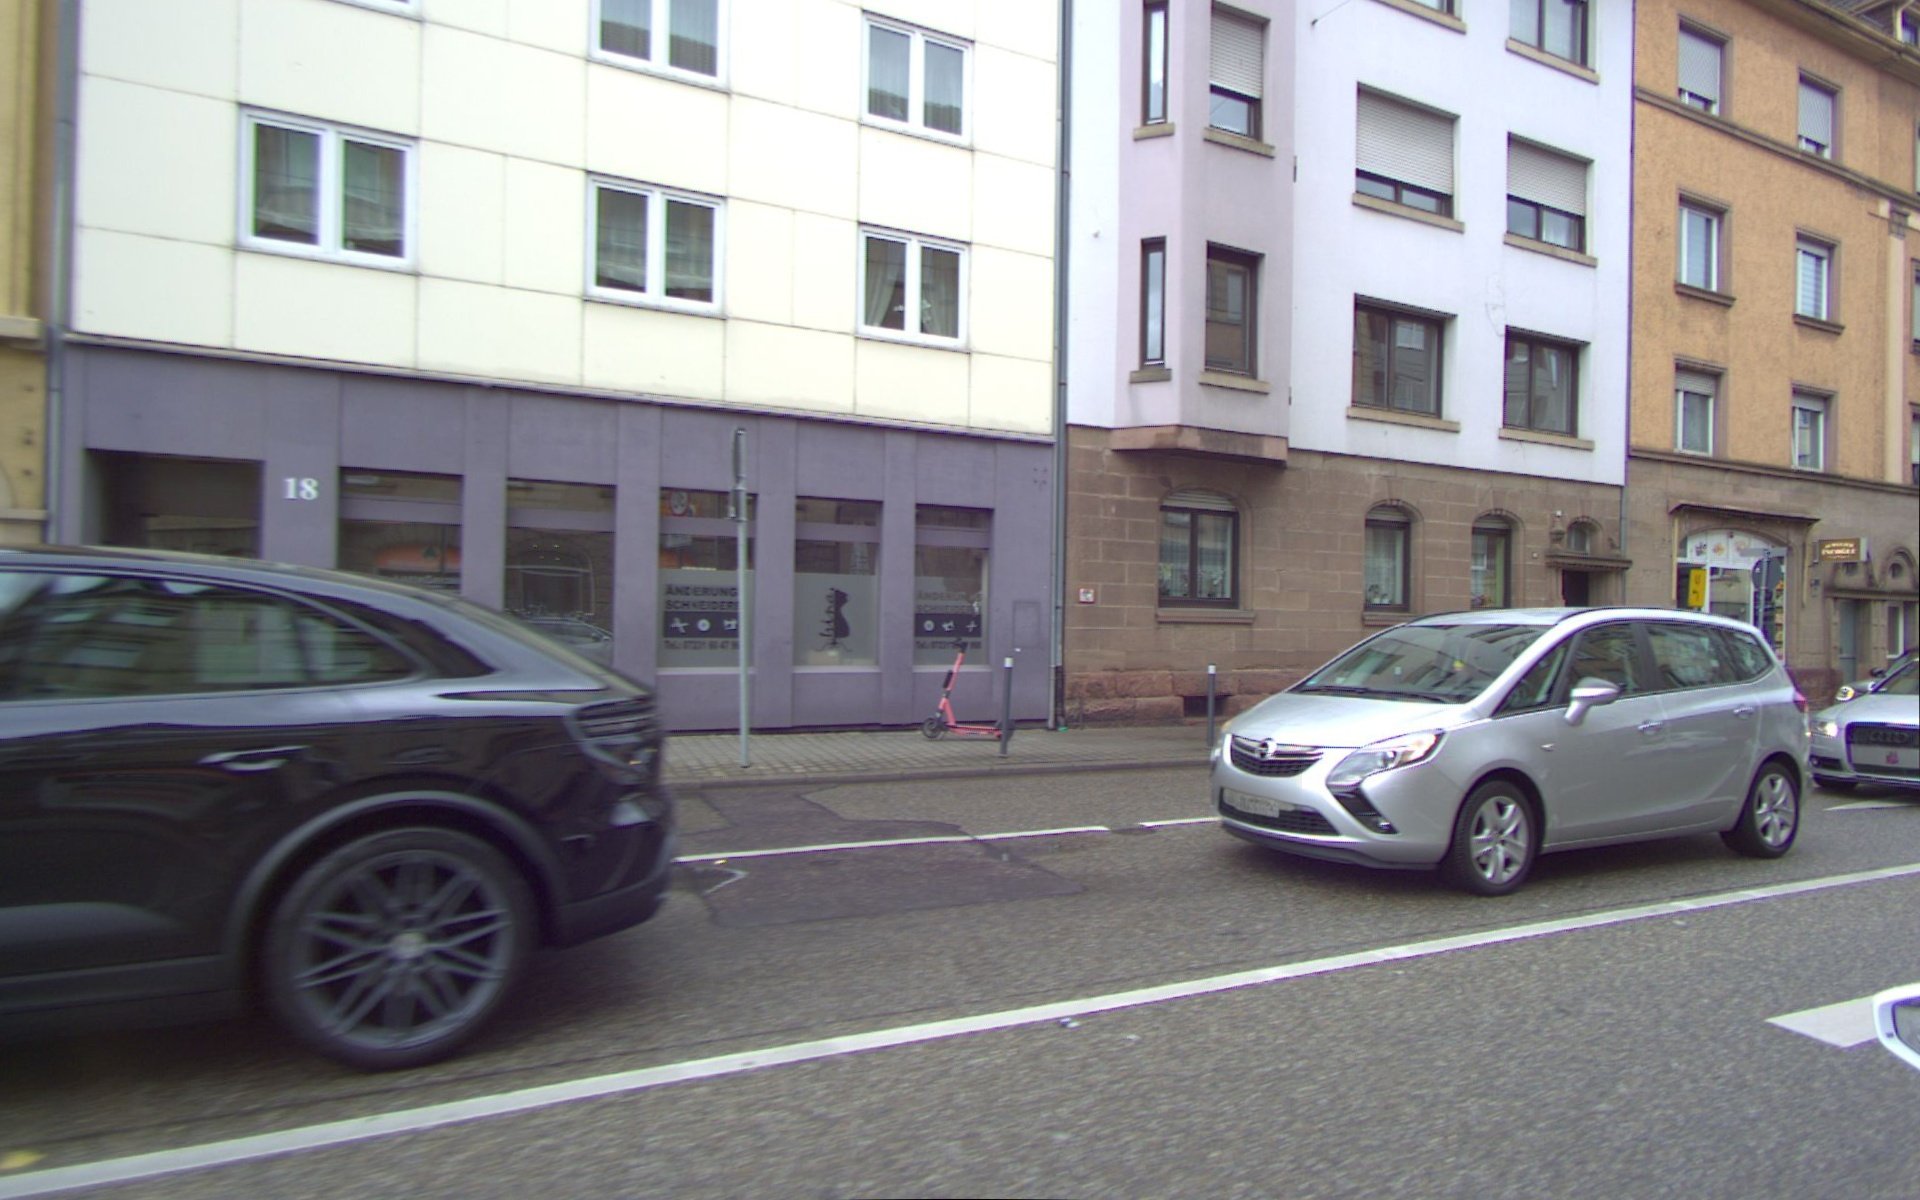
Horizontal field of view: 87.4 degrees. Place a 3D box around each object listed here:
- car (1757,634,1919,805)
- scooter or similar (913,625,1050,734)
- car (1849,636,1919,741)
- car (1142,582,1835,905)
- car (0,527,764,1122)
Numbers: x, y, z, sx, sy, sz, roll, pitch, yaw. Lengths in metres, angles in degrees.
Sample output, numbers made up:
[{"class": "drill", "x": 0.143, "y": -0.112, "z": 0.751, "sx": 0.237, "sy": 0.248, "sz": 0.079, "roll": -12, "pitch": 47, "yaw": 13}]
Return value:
[{"class": "car", "x": 10.354, "y": 1.153, "z": 10.097, "sx": 4.499, "sy": 1.489, "sz": 1.937, "roll": 3, "pitch": -2, "yaw": -26}, {"class": "scooter or similar", "x": 0.266, "y": 0.952, "z": 12.113, "sx": 1.558, "sy": 1.230, "sz": 0.459, "roll": 2, "pitch": 2, "yaw": -27}, {"class": "car", "x": 16.866, "y": 1.459, "z": 16.319, "sx": 4.275, "sy": 1.616, "sz": 1.977, "roll": 3, "pitch": -2, "yaw": -22}, {"class": "car", "x": 3.651, "y": 0.822, "z": 6.859, "sx": 4.461, "sy": 1.604, "sz": 1.937, "roll": 2, "pitch": -2, "yaw": -26}, {"class": "car", "x": -3.182, "y": 0.618, "z": 3.514, "sx": 4.544, "sy": 1.604, "sz": 1.937, "roll": 2, "pitch": -2, "yaw": -26}]
